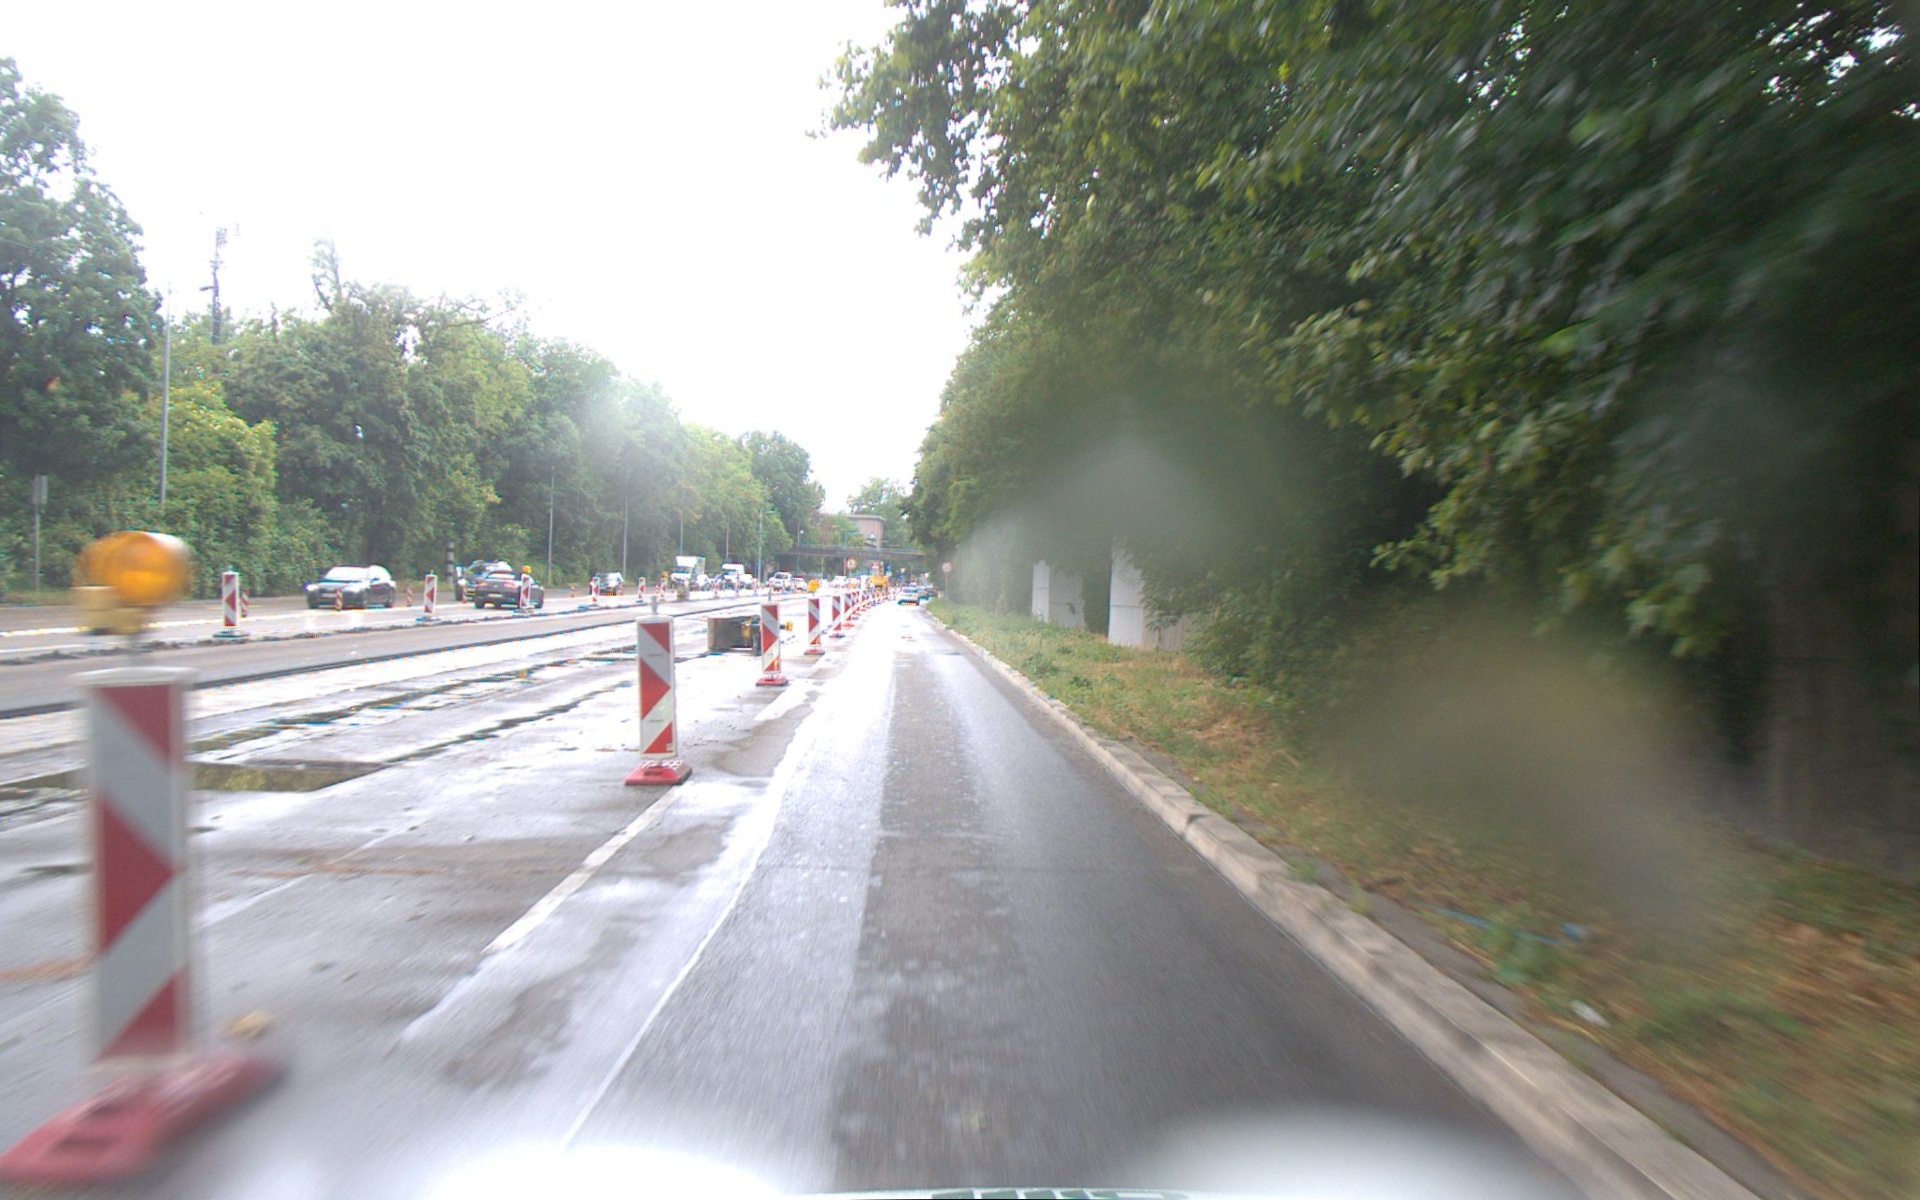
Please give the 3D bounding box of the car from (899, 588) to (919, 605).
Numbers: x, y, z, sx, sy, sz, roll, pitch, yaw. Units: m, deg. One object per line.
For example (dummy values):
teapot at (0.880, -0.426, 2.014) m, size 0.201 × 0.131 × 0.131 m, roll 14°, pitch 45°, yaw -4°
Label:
car at (-4.341, -0.312, 140.072) m, size 1.663 × 1.359 × 3.490 m, roll 0°, pitch 0°, yaw -2°

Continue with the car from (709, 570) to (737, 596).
car at (-25.335, -1.836, 177.102) m, size 2.057 × 2.624 × 6.852 m, roll 2°, pitch 0°, yaw -1°

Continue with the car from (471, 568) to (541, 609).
car at (-17.012, -0.439, 62.118) m, size 1.575 × 1.429 × 4.039 m, roll 2°, pitch 0°, yaw -2°

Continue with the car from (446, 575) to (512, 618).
car at (-20.959, -0.159, 72.242) m, size 1.700 × 1.752 × 4.491 m, roll 2°, pitch 0°, yaw -3°

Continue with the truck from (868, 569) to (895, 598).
truck at (-10.143, -2.143, 215.646) m, size 3.194 × 3.558 × 13.865 m, roll 2°, pitch 0°, yaw -2°

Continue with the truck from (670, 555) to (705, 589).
truck at (-25.358, -2.575, 154.166) m, size 2.200 × 2.991 × 6.933 m, roll 2°, pitch 0°, yaw -1°

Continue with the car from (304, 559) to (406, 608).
car at (-19.888, -0.541, 54.562) m, size 1.725 × 1.509 × 4.898 m, roll 2°, pitch 0°, yaw -3°

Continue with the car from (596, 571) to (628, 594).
car at (-21.836, -1.105, 103.806) m, size 1.419 × 1.355 × 3.857 m, roll 2°, pitch 0°, yaw -5°

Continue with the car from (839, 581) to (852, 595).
car at (-16.456, -1.778, 237.351) m, size 1.636 × 1.840 × 4.320 m, roll 2°, pitch 2°, yaw -1°
